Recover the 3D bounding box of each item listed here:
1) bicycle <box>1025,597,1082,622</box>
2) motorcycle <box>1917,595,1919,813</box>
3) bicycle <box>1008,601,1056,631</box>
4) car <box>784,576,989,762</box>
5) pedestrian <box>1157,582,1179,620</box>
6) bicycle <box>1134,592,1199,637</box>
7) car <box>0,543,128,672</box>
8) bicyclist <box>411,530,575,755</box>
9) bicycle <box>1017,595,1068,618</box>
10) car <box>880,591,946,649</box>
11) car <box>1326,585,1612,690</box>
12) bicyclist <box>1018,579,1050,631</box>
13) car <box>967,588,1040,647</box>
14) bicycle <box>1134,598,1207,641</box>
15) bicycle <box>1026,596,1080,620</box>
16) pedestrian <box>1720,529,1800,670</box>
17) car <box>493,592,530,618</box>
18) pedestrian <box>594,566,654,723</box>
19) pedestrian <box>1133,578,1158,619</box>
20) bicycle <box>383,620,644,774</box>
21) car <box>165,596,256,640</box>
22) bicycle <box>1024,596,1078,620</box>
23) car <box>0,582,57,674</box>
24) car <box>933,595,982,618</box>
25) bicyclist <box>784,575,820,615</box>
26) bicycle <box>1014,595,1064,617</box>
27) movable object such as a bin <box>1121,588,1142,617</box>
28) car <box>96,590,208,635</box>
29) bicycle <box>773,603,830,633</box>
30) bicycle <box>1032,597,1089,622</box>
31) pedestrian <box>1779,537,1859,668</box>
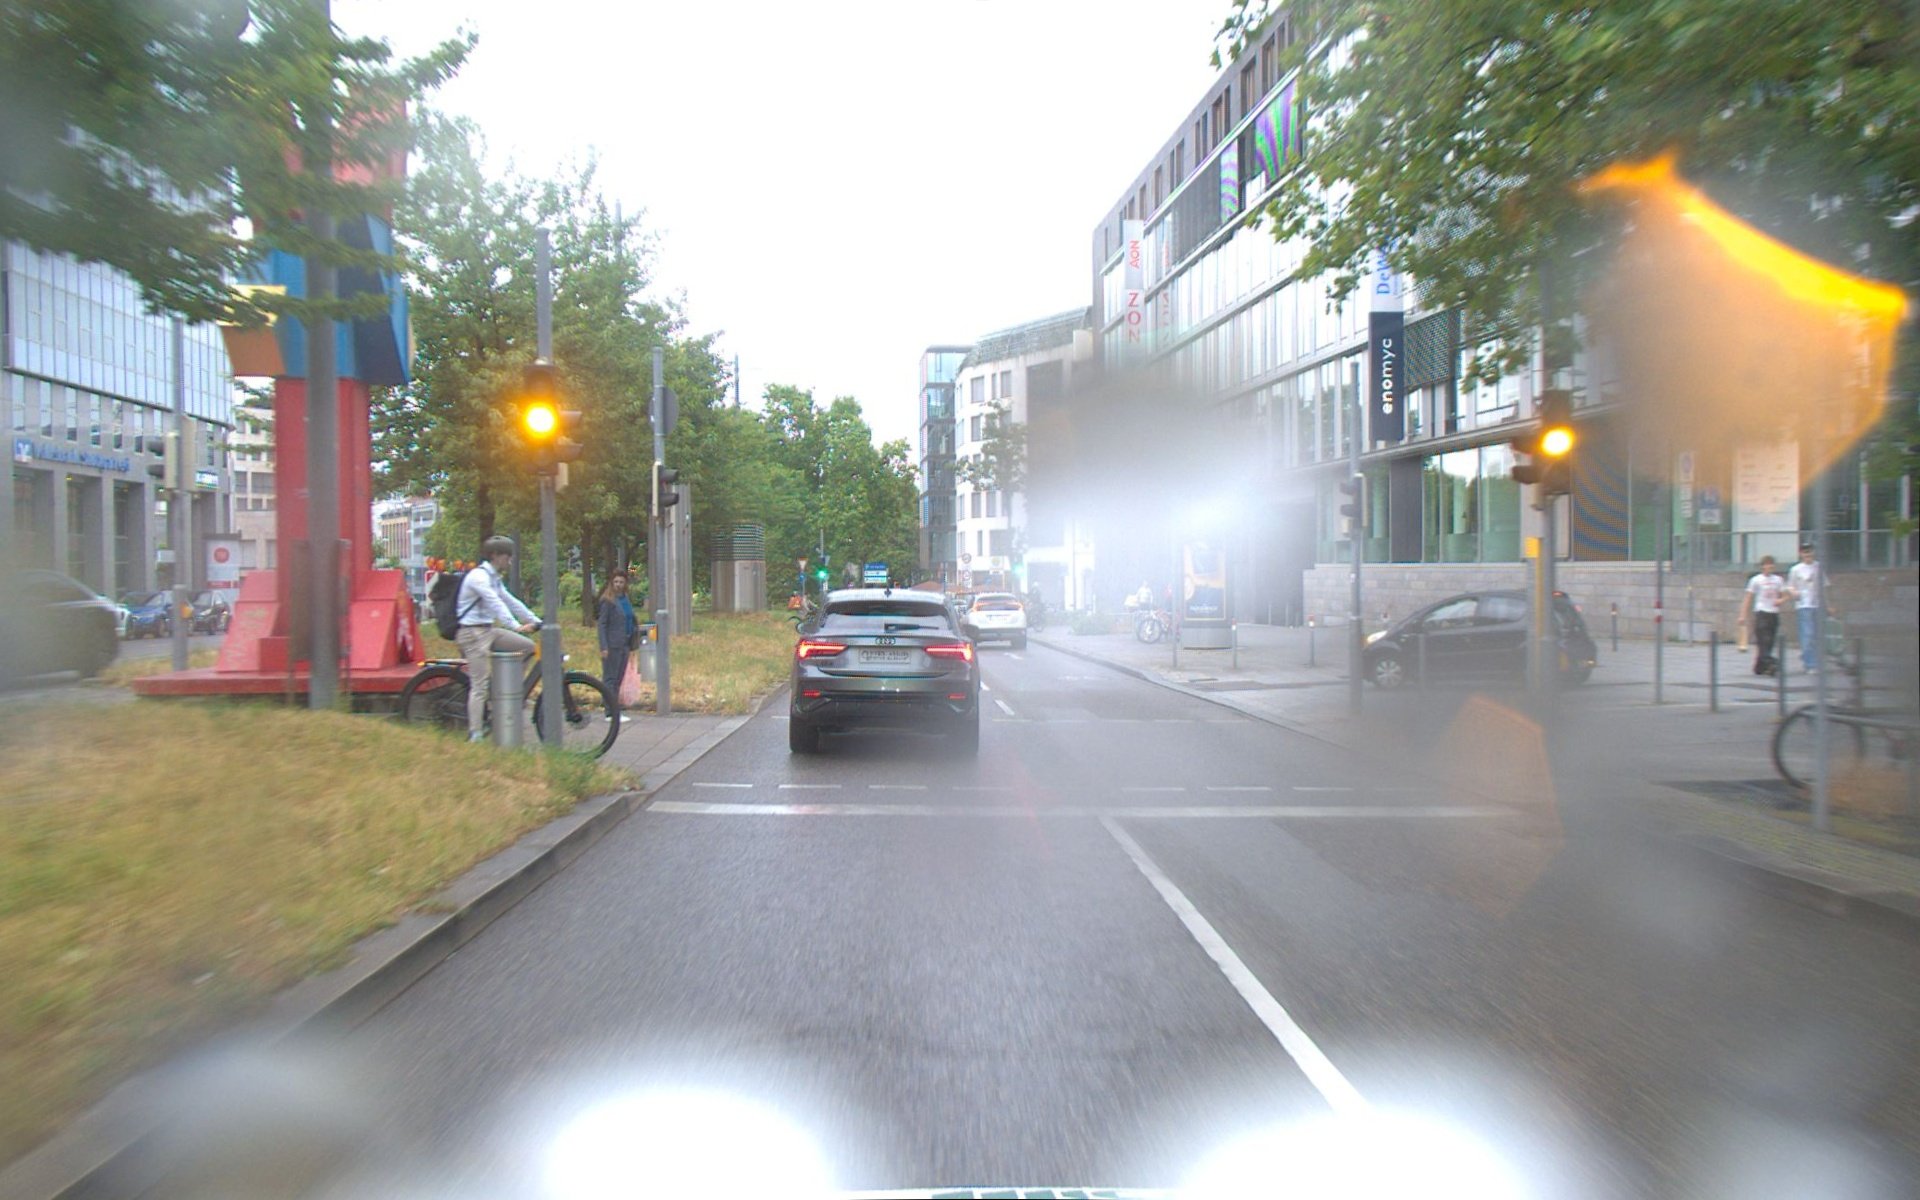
[{"bbox_3d":[4.286,0.442,75.857,2.486,1.106,0.677,-1,0,-5],"label":"bicycle"},{"bbox_3d":[7.058,0.660,10.065,2.039,1.381,0.678,0,0,6],"label":"motorcycle"},{"bbox_3d":[2.985,0.661,68.016,0.750,1.165,2.119,-2,0,43],"label":"bicycle"},{"bbox_3d":[-0.666,0.586,16.806,1.810,1.644,4.252,0,1,-1],"label":"car"},{"bbox_3d":[9.674,0.041,77.129,0.704,1.719,1.099,-3,0,-6],"label":"pedestrian"},{"bbox_3d":[5.992,0.419,48.133,1.798,1.218,0.660,-2,0,3],"label":"bicycle"},{"bbox_3d":[-12.153,0.109,20.459,1.756,1.492,4.719,-2,1,-7],"label":"car"},{"bbox_3d":[-3.894,0.354,13.880,1.054,1.780,0.812,3,-1,0],"label":"bicyclist"},{"bbox_3d":[4.238,0.323,85.093,2.486,1.106,0.677,-2,0,-5],"label":"bicycle"},{"bbox_3d":[-1.401,0.584,50.470,1.906,1.675,4.244,-1,0,-1],"label":"car"},{"bbox_3d":[7.543,0.522,24.663,3.760,1.441,1.628,0,0,38],"label":"car"},{"bbox_3d":[3.040,0.207,68.110,0.750,2.119,1.078,-2,-1,44],"label":"bicyclist"},{"bbox_3d":[1.316,0.502,50.820,2.134,1.730,4.000,-1,0,1],"label":"car"},{"bbox_3d":[5.882,0.543,46.278,1.942,1.123,0.808,-2,0,3],"label":"bicycle"},{"bbox_3d":[4.438,0.377,78.743,2.486,1.106,0.677,-2,0,-5],"label":"bicycle"},{"bbox_3d":[11.906,-0.015,24.636,0.832,2.074,0.753,0,0,2],"label":"pedestrian"},{"bbox_3d":[-30.156,0.308,111.291,1.909,1.730,3.991,-1,0,-9],"label":"car"},{"bbox_3d":[-3.751,0.486,18.479,0.517,1.715,0.721,0,0,0],"label":"pedestrian"},{"bbox_3d":[8.645,-0.061,77.048,0.882,1.823,1.045,-3,0,-6],"label":"pedestrian"},{"bbox_3d":[-3.718,0.798,13.885,1.931,1.159,0.777,2,0,0],"label":"bicycle"},{"bbox_3d":[-26.544,0.610,58.719,1.742,1.426,4.011,-1,1,-6],"label":"car"},{"bbox_3d":[4.375,0.373,79.553,2.486,1.106,0.677,-2,0,-5],"label":"bicycle"},{"bbox_3d":[-15.857,0.476,25.627,1.755,1.439,3.996,-2,1,-5],"label":"car"},{"bbox_3d":[-0.215,0.508,134.394,3.906,1.676,2.000,3,0,-1],"label":"car"},{"bbox_3d":[-6.428,-0.209,67.424,1.109,1.610,1.015,1,0,20],"label":"bicyclist"},{"bbox_3d":[4.108,0.314,85.981,2.486,1.106,0.677,-2,0,-5],"label":"bicycle"},{"bbox_3d":[8.131,0.108,78.347,0.717,1.286,1.443,-3,0,-3],"label":"movable object such as a bin"},{"bbox_3d":[-25.776,0.364,52.936,1.856,1.349,4.469,-1,0,-7],"label":"car"},{"bbox_3d":[-6.459,0.729,67.414,2.018,1.133,1.012,2,0,19],"label":"bicycle"},{"bbox_3d":[4.522,0.426,74.382,2.486,1.075,0.677,-1,0,-5],"label":"bicycle"},{"bbox_3d":[12.786,0.031,24.635,0.784,1.901,0.899,0,0,6],"label":"pedestrian"}]
